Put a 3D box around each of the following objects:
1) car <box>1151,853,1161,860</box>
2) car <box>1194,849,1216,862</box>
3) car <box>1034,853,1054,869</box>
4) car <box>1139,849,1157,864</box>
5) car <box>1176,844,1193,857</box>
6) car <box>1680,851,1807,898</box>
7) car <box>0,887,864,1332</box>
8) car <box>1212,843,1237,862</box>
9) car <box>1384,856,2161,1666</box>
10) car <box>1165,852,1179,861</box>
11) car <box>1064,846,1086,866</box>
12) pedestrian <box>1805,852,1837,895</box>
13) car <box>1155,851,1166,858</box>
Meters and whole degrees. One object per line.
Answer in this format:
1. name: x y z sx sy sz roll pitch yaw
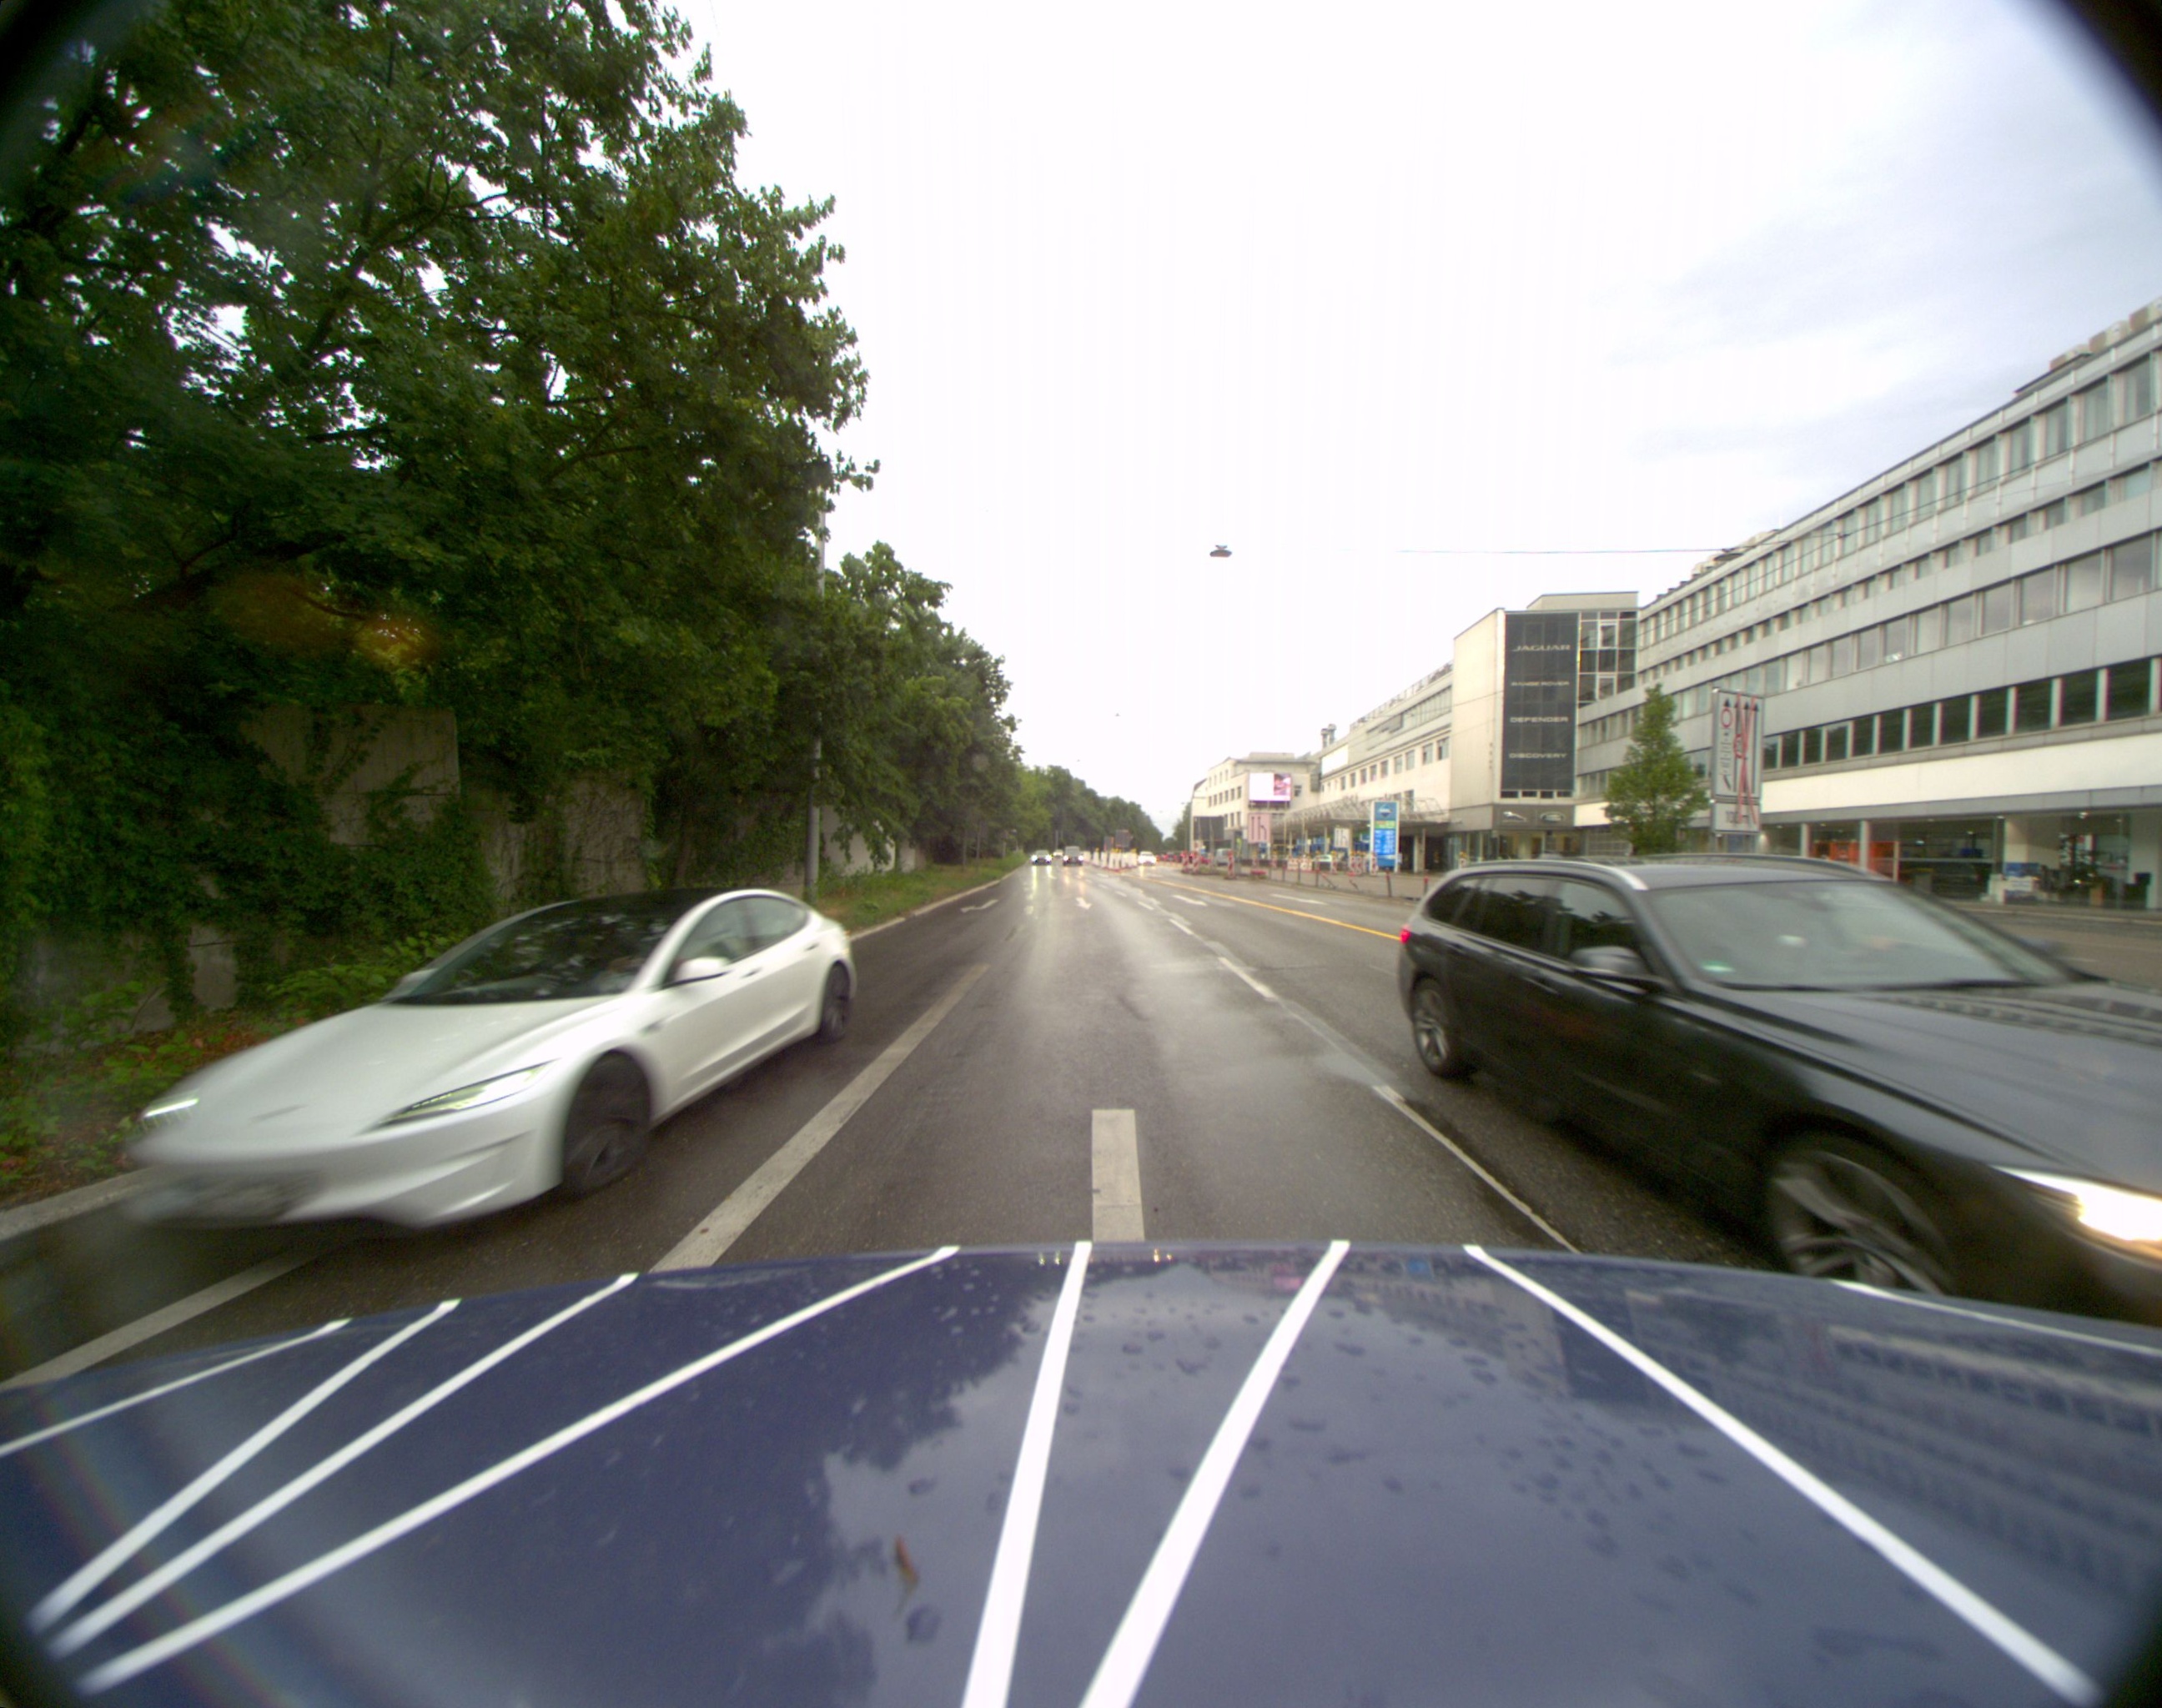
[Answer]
1. car: 15.380 0.518 155.262 1.693 1.346 4.115 2 1 2
2. car: 14.532 0.148 89.273 1.834 1.493 4.372 2 1 -1
3. car: -3.669 0.657 75.491 1.742 1.477 3.917 -2 1 1
4. car: 7.291 0.240 82.839 1.649 1.477 4.000 2 1 1
5. car: 14.478 -0.511 106.437 1.850 1.727 4.603 1 1 0
6. car: 28.356 0.807 32.753 1.851 1.769 4.733 2 1 10
7. car: -3.144 1.082 5.032 1.839 1.424 4.274 -2 1 5
8. car: 14.398 -0.146 76.486 1.738 1.775 4.301 2 1 1
9. car: 3.100 0.862 3.401 1.764 1.442 4.176 -4 2 0
10. car: 15.555 0.419 129.959 1.812 1.549 4.300 1 1 1
11. car: -0.529 0.146 72.641 1.998 1.740 3.999 2 1 1
12. pedestrian: 30.607 0.792 31.426 0.719 1.722 0.538 2 1 14
13. car: 18.895 0.125 180.886 1.985 1.697 4.830 1 1 -2
